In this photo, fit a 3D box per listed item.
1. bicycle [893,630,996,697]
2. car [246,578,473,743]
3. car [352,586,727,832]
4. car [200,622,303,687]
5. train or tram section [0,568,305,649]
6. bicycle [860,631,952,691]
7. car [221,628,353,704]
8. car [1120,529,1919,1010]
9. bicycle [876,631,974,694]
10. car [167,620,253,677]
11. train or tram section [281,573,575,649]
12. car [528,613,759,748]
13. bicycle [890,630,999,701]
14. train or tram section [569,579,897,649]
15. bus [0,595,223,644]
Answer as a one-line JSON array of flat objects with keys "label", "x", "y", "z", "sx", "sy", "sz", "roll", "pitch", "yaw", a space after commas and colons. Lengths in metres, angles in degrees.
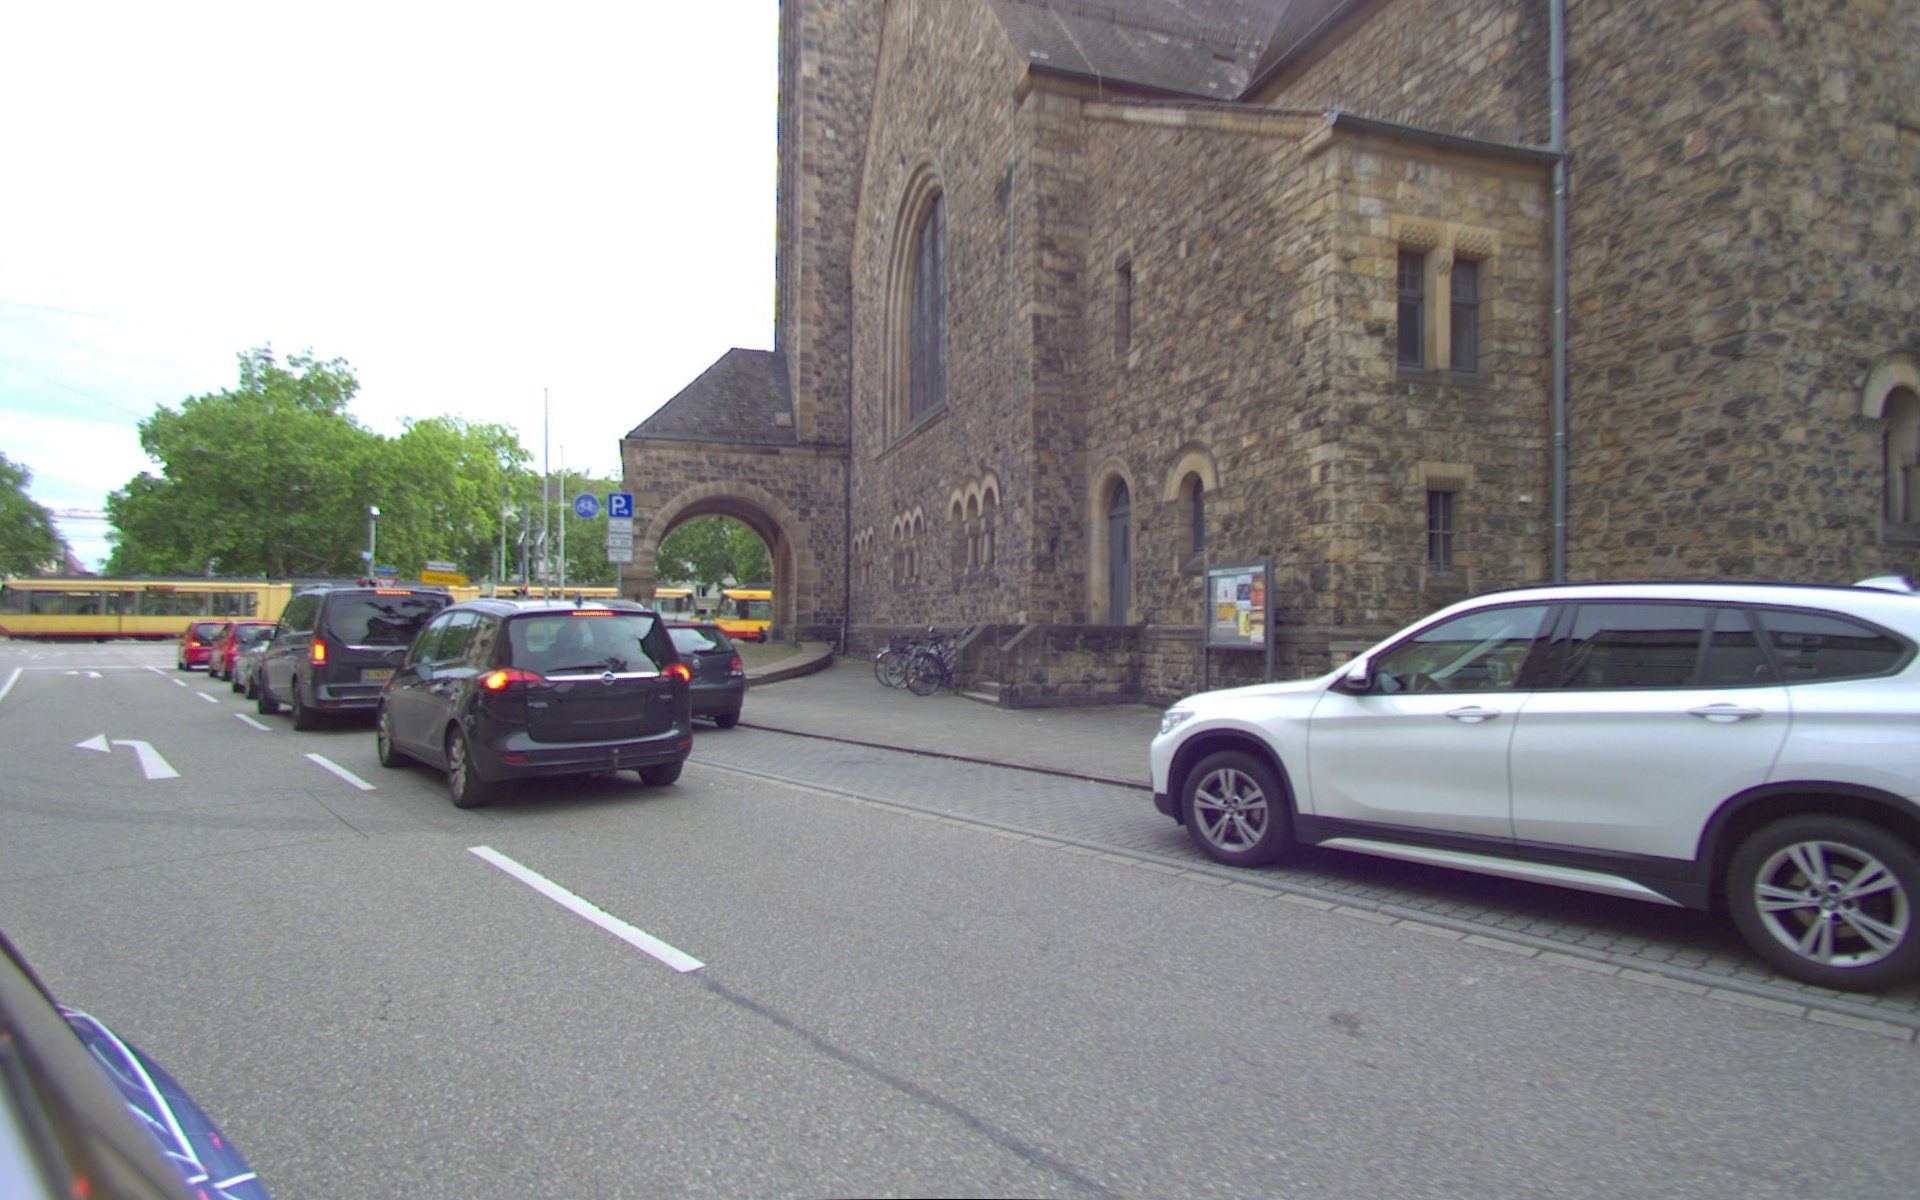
[{"label": "bicycle", "x": -0.276, "y": 1.144, "z": 18.575, "sx": 1.753, "sy": 1.175, "sz": 0.744, "roll": 1, "pitch": -2, "yaw": -29}, {"label": "car", "x": -8.878, "y": 0.794, "z": 14.711, "sx": 1.888, "sy": 1.969, "sz": 5.291, "roll": 1, "pitch": -2, "yaw": -41}, {"label": "car", "x": -4.075, "y": 0.817, "z": 9.321, "sx": 1.822, "sy": 1.697, "sz": 4.554, "roll": 1, "pitch": -2, "yaw": -41}, {"label": "car", "x": -17.844, "y": 1.341, "z": 25.438, "sx": 1.583, "sy": 1.468, "sz": 3.722, "roll": 5, "pitch": -4, "yaw": -42}, {"label": "train or tram section", "x": -44.879, "y": 0.524, "z": 55.273, "sx": 14.783, "sy": 4.124, "sz": 3.665, "roll": 1, "pitch": -1, "yaw": -16}, {"label": "bicycle", "x": -1.053, "y": 1.183, "z": 19.947, "sx": 1.754, "sy": 1.134, "sz": 0.569, "roll": 1, "pitch": -2, "yaw": -29}, {"label": "car", "x": -13.296, "y": 1.244, "z": 19.905, "sx": 1.683, "sy": 1.296, "sz": 4.049, "roll": 4, "pitch": -3, "yaw": -40}, {"label": "car", "x": 3.151, "y": 0.650, "z": 5.233, "sx": 1.821, "sy": 1.701, "sz": 4.437, "roll": 1, "pitch": -2, "yaw": -42}, {"label": "bicycle", "x": -0.661, "y": 1.171, "z": 19.288, "sx": 1.753, "sy": 1.139, "sz": 0.663, "roll": 1, "pitch": -2, "yaw": -29}, {"label": "car", "x": -22.109, "y": 1.429, "z": 29.792, "sx": 1.629, "sy": 1.540, "sz": 3.899, "roll": 4, "pitch": -5, "yaw": -41}, {"label": "train or tram section", "x": -30.590, "y": 0.691, "z": 59.264, "sx": 14.783, "sy": 4.124, "sz": 3.592, "roll": 1, "pitch": -1, "yaw": -16}, {"label": "car", "x": -4.448, "y": 0.975, "z": 13.906, "sx": 1.626, "sy": 1.520, "sz": 3.777, "roll": -1, "pitch": 1, "yaw": -42}, {"label": "bicycle", "x": -0.259, "y": 1.111, "z": 17.504, "sx": 1.753, "sy": 1.161, "sz": 0.744, "roll": 1, "pitch": -2, "yaw": -29}, {"label": "train or tram section", "x": -13.989, "y": 0.958, "z": 63.878, "sx": 19.609, "sy": 4.124, "sz": 3.638, "roll": 1, "pitch": -1, "yaw": -16}, {"label": "bus", "x": -53.078, "y": 1.189, "z": 62.207, "sx": 12.169, "sy": 2.878, "sz": 3.302, "roll": 1, "pitch": -1, "yaw": -16}]
